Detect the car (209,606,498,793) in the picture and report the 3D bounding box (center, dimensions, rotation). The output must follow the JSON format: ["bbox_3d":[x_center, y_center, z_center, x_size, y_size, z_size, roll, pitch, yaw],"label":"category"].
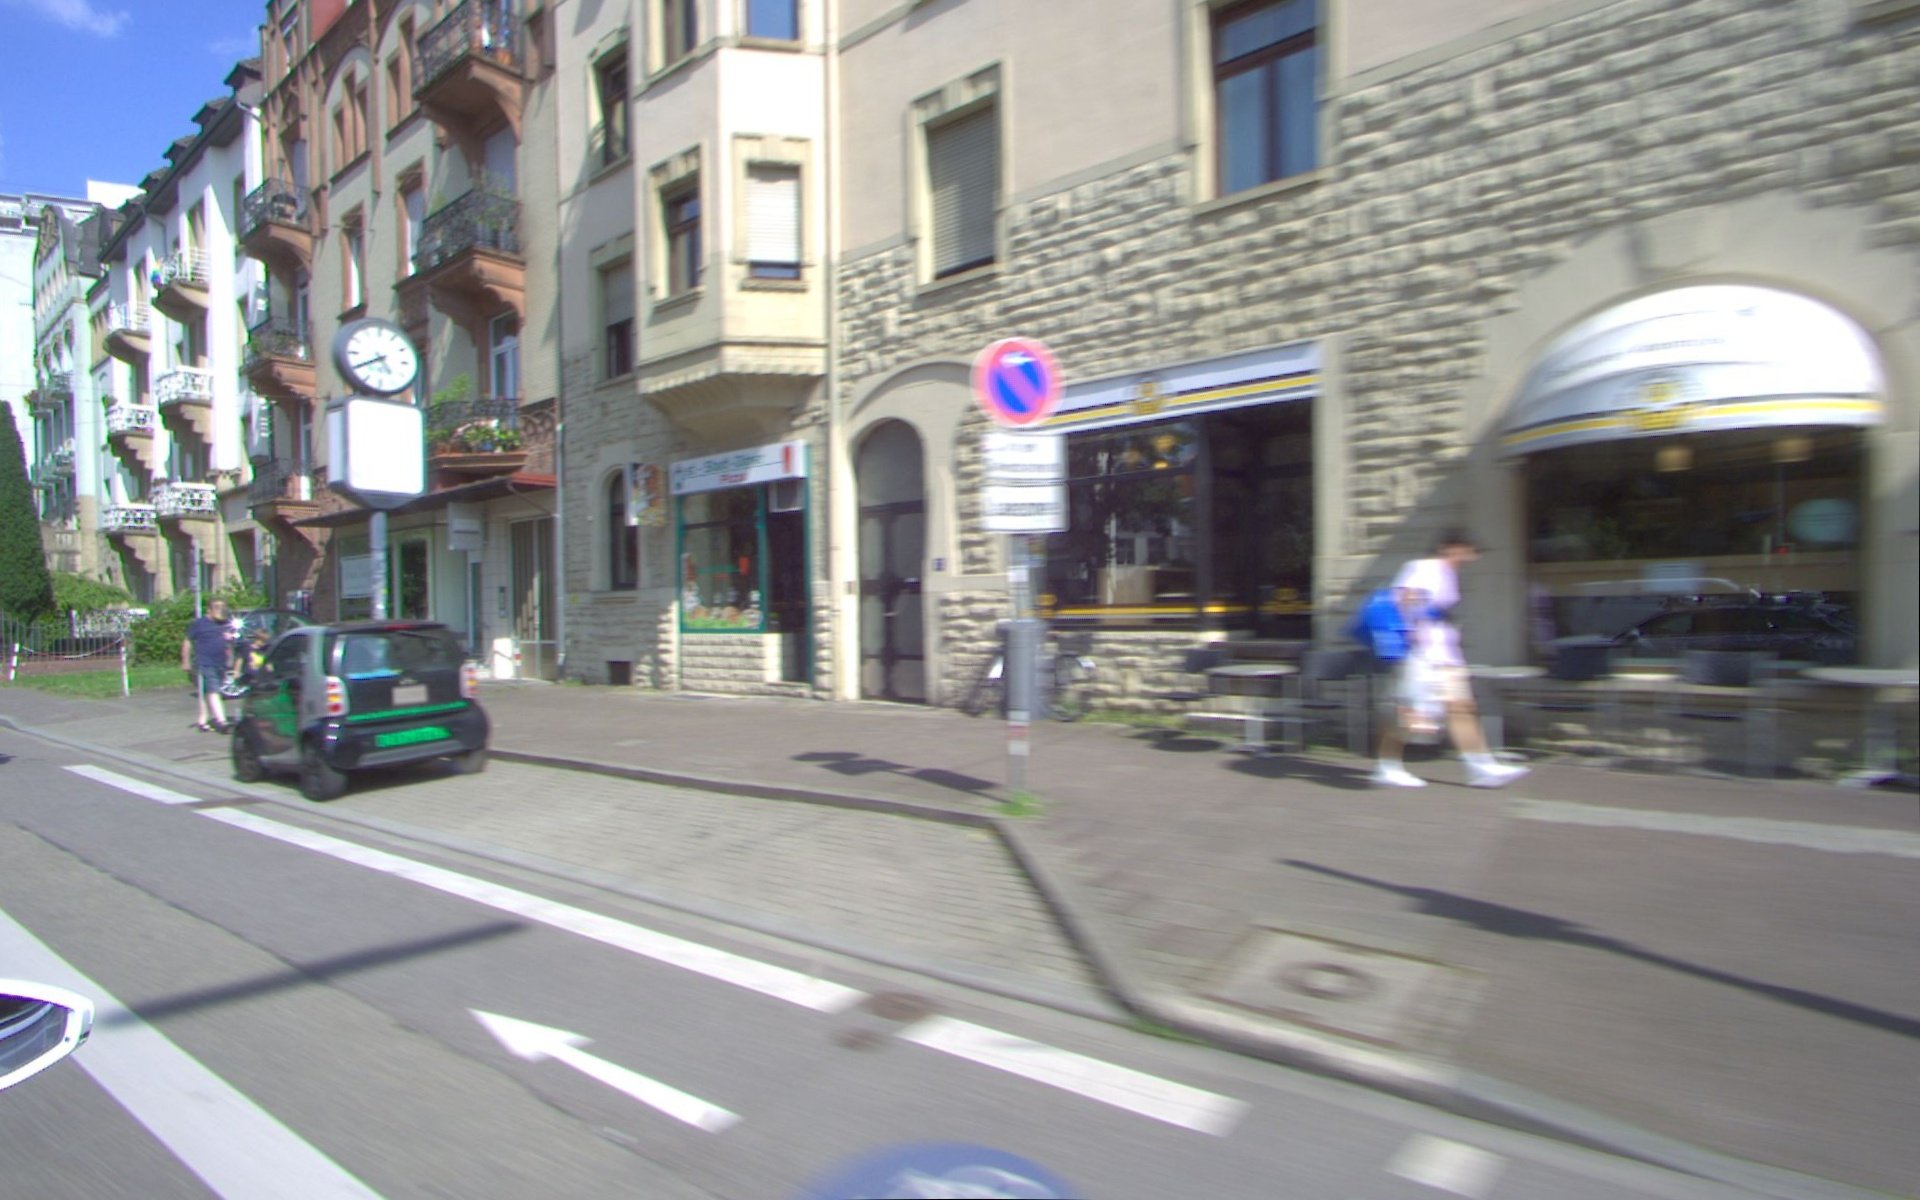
[{"bbox_3d":[-6.046,0.873,9.923,2.759,1.519,1.507,-1,2,38],"label":"car"}]

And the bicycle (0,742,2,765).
[{"bbox_3d":[-10.790,1.237,10.651,1.815,1.058,0.612,-4,1,40],"label":"bicycle"}]

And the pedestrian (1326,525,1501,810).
[{"bbox_3d":[3.143,0.403,6.910,0.840,1.793,1.005,0,4,41],"label":"pedestrian"}]

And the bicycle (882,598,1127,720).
[{"bbox_3d":[0.422,0.622,10.933,2.718,1.192,0.802,-2,-2,37],"label":"bicycle"}]

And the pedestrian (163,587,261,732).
[{"bbox_3d":[-10.103,0.784,13.527,0.861,1.868,0.657,-1,4,32],"label":"pedestrian"}]

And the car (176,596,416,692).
[{"bbox_3d":[-12.544,0.770,19.029,1.950,1.544,3.382,-1,1,42],"label":"car"}]

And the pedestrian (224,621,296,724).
[{"bbox_3d":[-9.691,0.991,13.867,0.436,1.344,0.568,-1,5,32],"label":"pedestrian"}]
